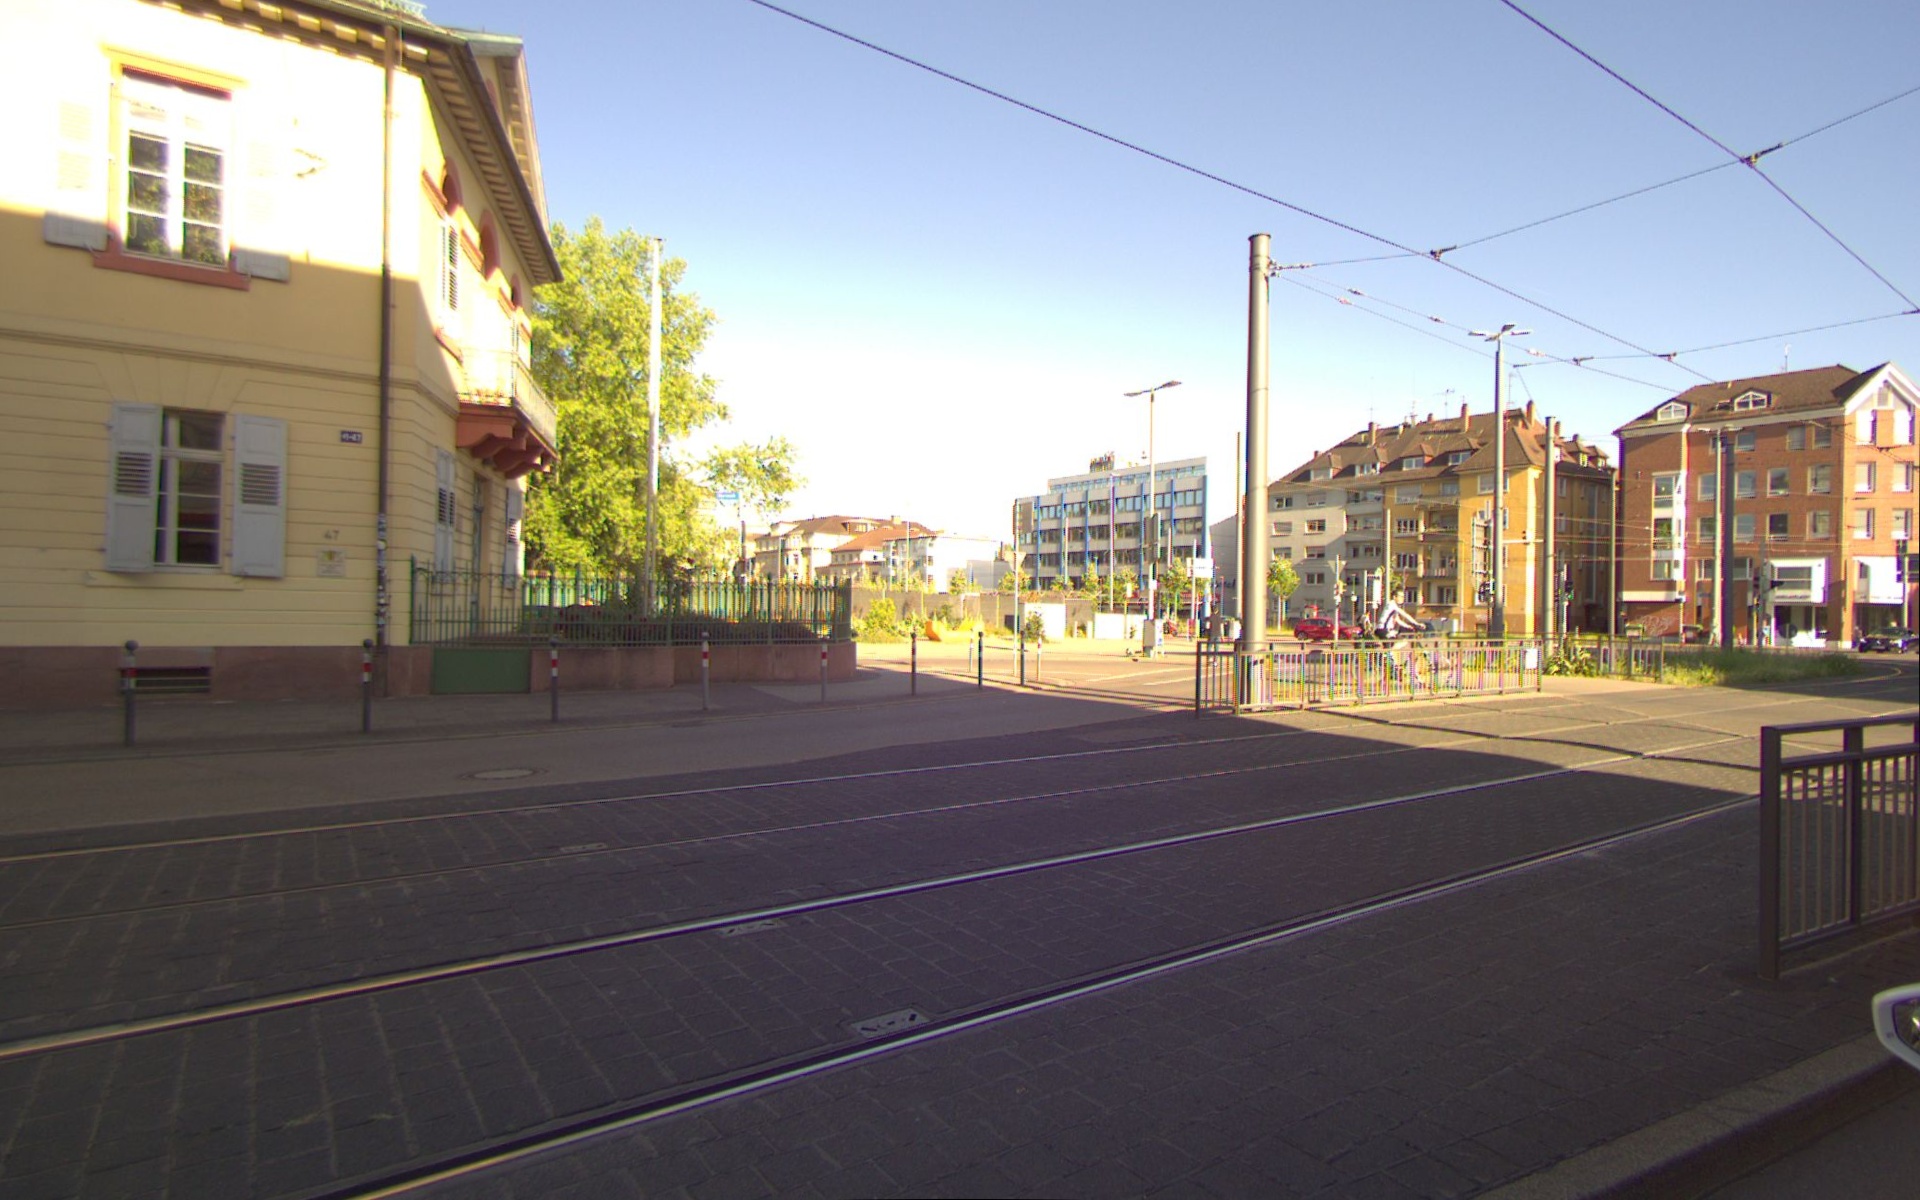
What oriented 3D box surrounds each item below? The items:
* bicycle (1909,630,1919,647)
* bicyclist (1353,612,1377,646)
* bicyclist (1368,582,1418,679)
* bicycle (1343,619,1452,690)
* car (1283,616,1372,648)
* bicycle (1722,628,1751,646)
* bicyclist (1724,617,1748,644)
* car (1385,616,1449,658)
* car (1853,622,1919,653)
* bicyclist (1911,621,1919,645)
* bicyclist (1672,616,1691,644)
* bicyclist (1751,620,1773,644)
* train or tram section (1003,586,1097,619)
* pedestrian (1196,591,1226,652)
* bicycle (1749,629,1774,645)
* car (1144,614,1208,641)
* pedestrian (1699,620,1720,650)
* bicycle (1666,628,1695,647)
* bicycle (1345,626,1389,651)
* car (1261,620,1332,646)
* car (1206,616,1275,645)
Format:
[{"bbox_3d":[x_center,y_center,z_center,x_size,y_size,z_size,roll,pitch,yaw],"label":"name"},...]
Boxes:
[{"bbox_3d":[63.399,2.530,66.258,2.255,1.103,0.527,1,-1,-29],"label":"bicycle"},{"bbox_3d":[22.123,1.595,54.875,0.785,1.832,0.892,2,0,-42],"label":"bicyclist"},{"bbox_3d":[8.172,0.564,18.937,0.739,1.783,0.757,2,0,30],"label":"bicyclist"},{"bbox_3d":[8.206,1.000,18.871,1.821,1.238,0.485,2,0,29],"label":"bicycle"},{"bbox_3d":[21.866,1.881,59.897,1.984,1.723,4.545,2,0,-41],"label":"car"},{"bbox_3d":[45.548,2.167,58.900,2.220,0.984,0.521,2,0,-31],"label":"bicycle"},{"bbox_3d":[45.513,1.772,58.916,0.688,1.523,0.894,2,0,-30],"label":"bicyclist"},{"bbox_3d":[18.271,1.451,40.082,1.618,1.546,3.852,2,0,35],"label":"car"},{"bbox_3d":[49.570,2.032,53.648,3.991,1.547,1.701,2,0,-32],"label":"car"},{"bbox_3d":[63.452,2.156,66.290,0.737,1.584,0.781,1,0,-28],"label":"bicyclist"},{"bbox_3d":[39.807,1.648,55.419,0.688,1.523,0.630,2,0,-30],"label":"bicyclist"},{"bbox_3d":[50.380,1.995,63.109,0.958,1.490,0.702,1,0,-22],"label":"bicyclist"},{"bbox_3d":[9.364,0.202,106.287,2.783,3.172,11.132,2,0,-41],"label":"train or tram section"},{"bbox_3d":[7.171,0.614,28.705,0.758,1.703,0.593,2,0,14],"label":"pedestrian"},{"bbox_3d":[50.372,2.338,63.126,1.669,0.994,0.403,2,0,-22],"label":"bicycle"},{"bbox_3d":[14.741,1.867,68.569,1.895,1.708,3.916,2,0,-41],"label":"car"},{"bbox_3d":[47.709,2.216,63.917,0.737,1.845,0.781,2,0,-28],"label":"pedestrian"},{"bbox_3d":[39.733,2.062,55.384,2.220,0.984,0.444,2,0,-31],"label":"bicycle"},{"bbox_3d":[22.204,2.083,54.795,0.542,1.230,2.168,2,0,-41],"label":"bicycle"},{"bbox_3d":[21.691,2.091,64.882,1.781,1.503,3.949,2,0,-43],"label":"car"},{"bbox_3d":[18.001,1.938,64.578,1.762,1.694,3.955,2,0,-39],"label":"car"}]
